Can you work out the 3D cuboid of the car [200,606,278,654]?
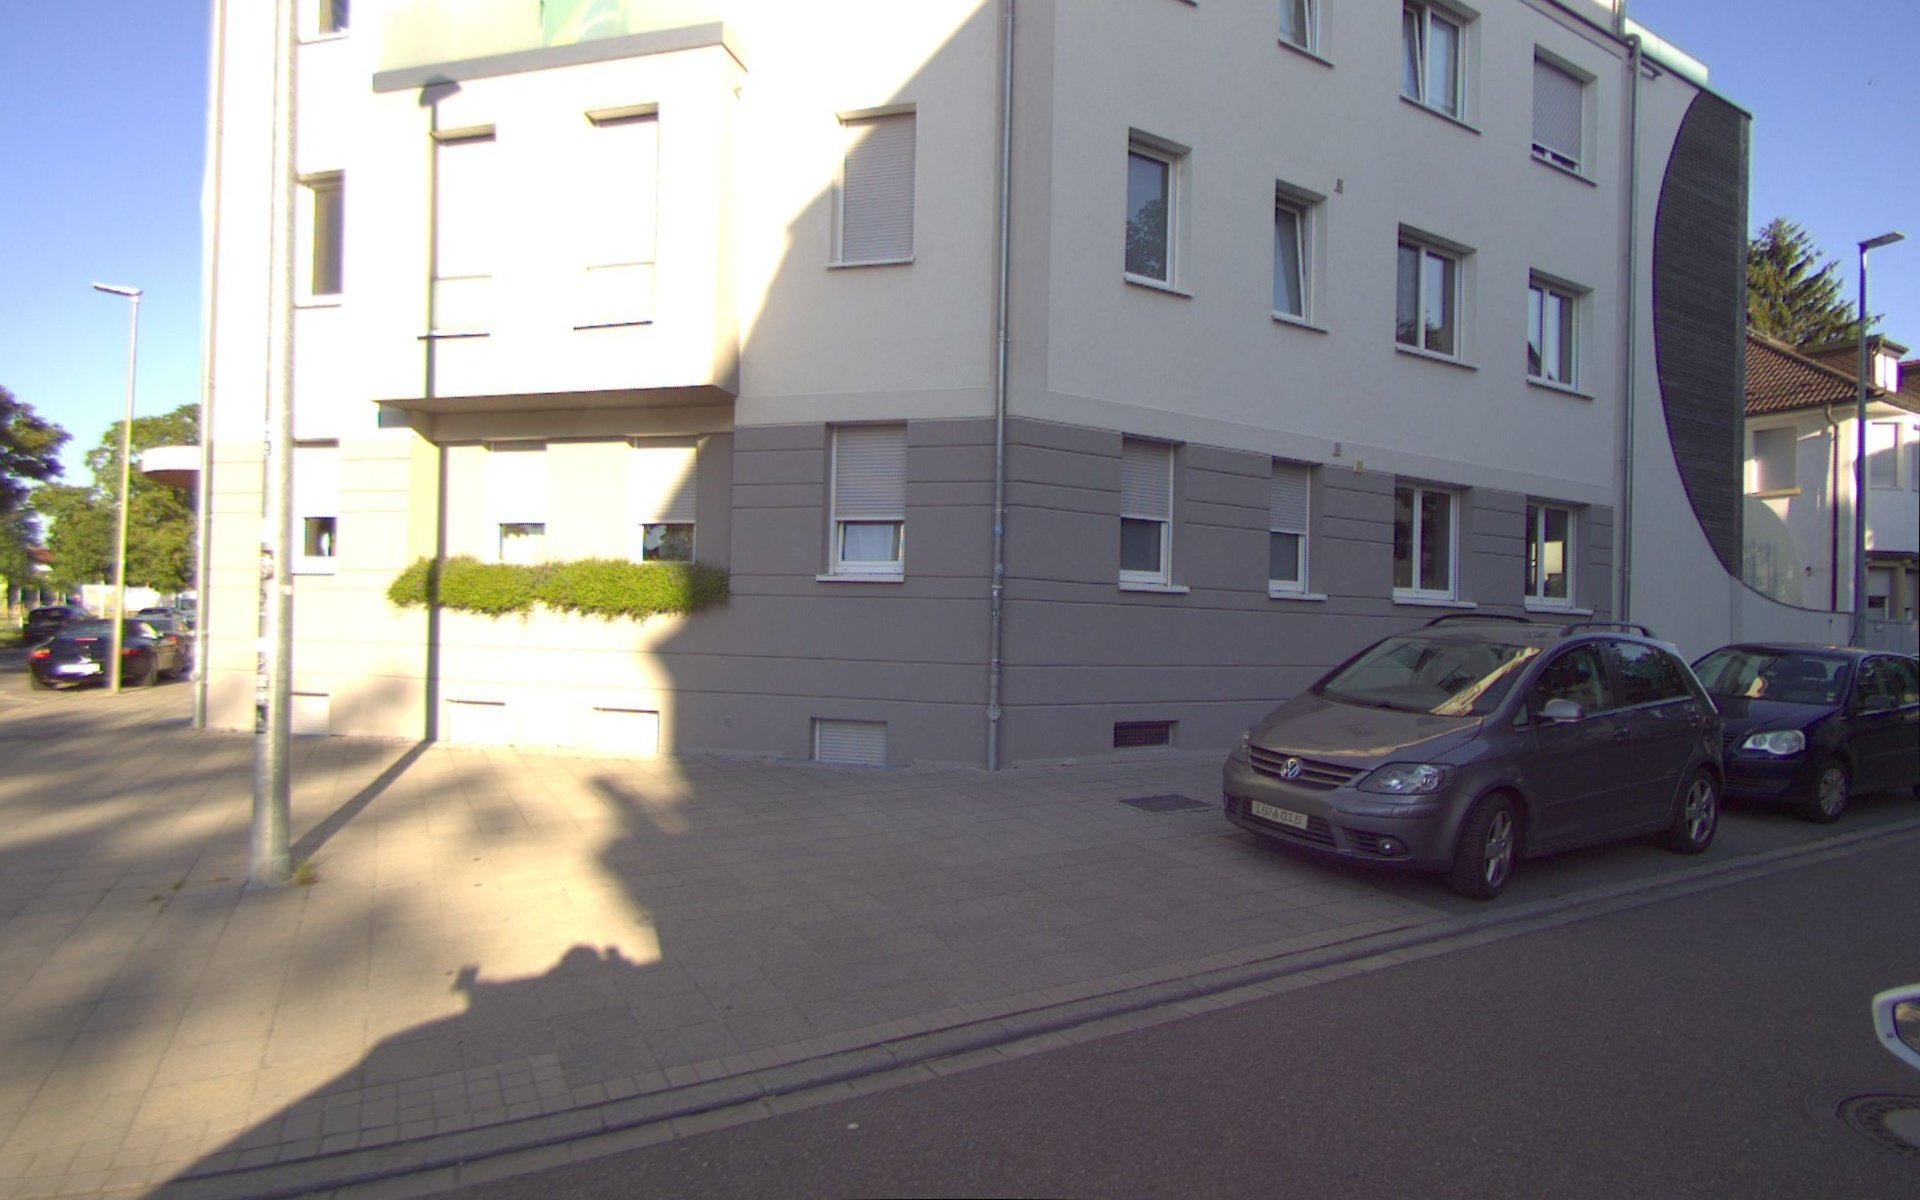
[{"bbox_3d":[-26.074,1.056,36.432,1.805,1.601,3.806,2,-1,-29],"label":"car"}]

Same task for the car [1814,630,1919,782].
[{"bbox_3d":[12.064,1.233,11.902,4.046,1.612,1.873,3,-1,-33],"label":"car"}]

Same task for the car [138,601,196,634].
[{"bbox_3d":[-42.013,0.912,53.287,1.805,1.601,3.806,2,-1,-29],"label":"car"}]

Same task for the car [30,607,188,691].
[{"bbox_3d":[-16.437,0.877,19.589,1.606,1.441,3.703,0,0,-28],"label":"car"}]

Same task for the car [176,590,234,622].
[{"bbox_3d":[-49.964,0.428,66.568,2.200,1.971,4.478,2,-1,-27],"label":"car"}]

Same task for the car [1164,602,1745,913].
[{"bbox_3d":[3.589,0.894,7.106,4.046,1.612,1.873,3,-1,-33],"label":"car"}]

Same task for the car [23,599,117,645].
[{"bbox_3d":[-33.249,0.801,37.654,1.805,1.601,3.806,2,-1,-29],"label":"car"}]

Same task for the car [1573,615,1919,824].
[{"bbox_3d":[7.978,1.024,9.757,4.046,1.612,1.873,3,-1,-33],"label":"car"}]
